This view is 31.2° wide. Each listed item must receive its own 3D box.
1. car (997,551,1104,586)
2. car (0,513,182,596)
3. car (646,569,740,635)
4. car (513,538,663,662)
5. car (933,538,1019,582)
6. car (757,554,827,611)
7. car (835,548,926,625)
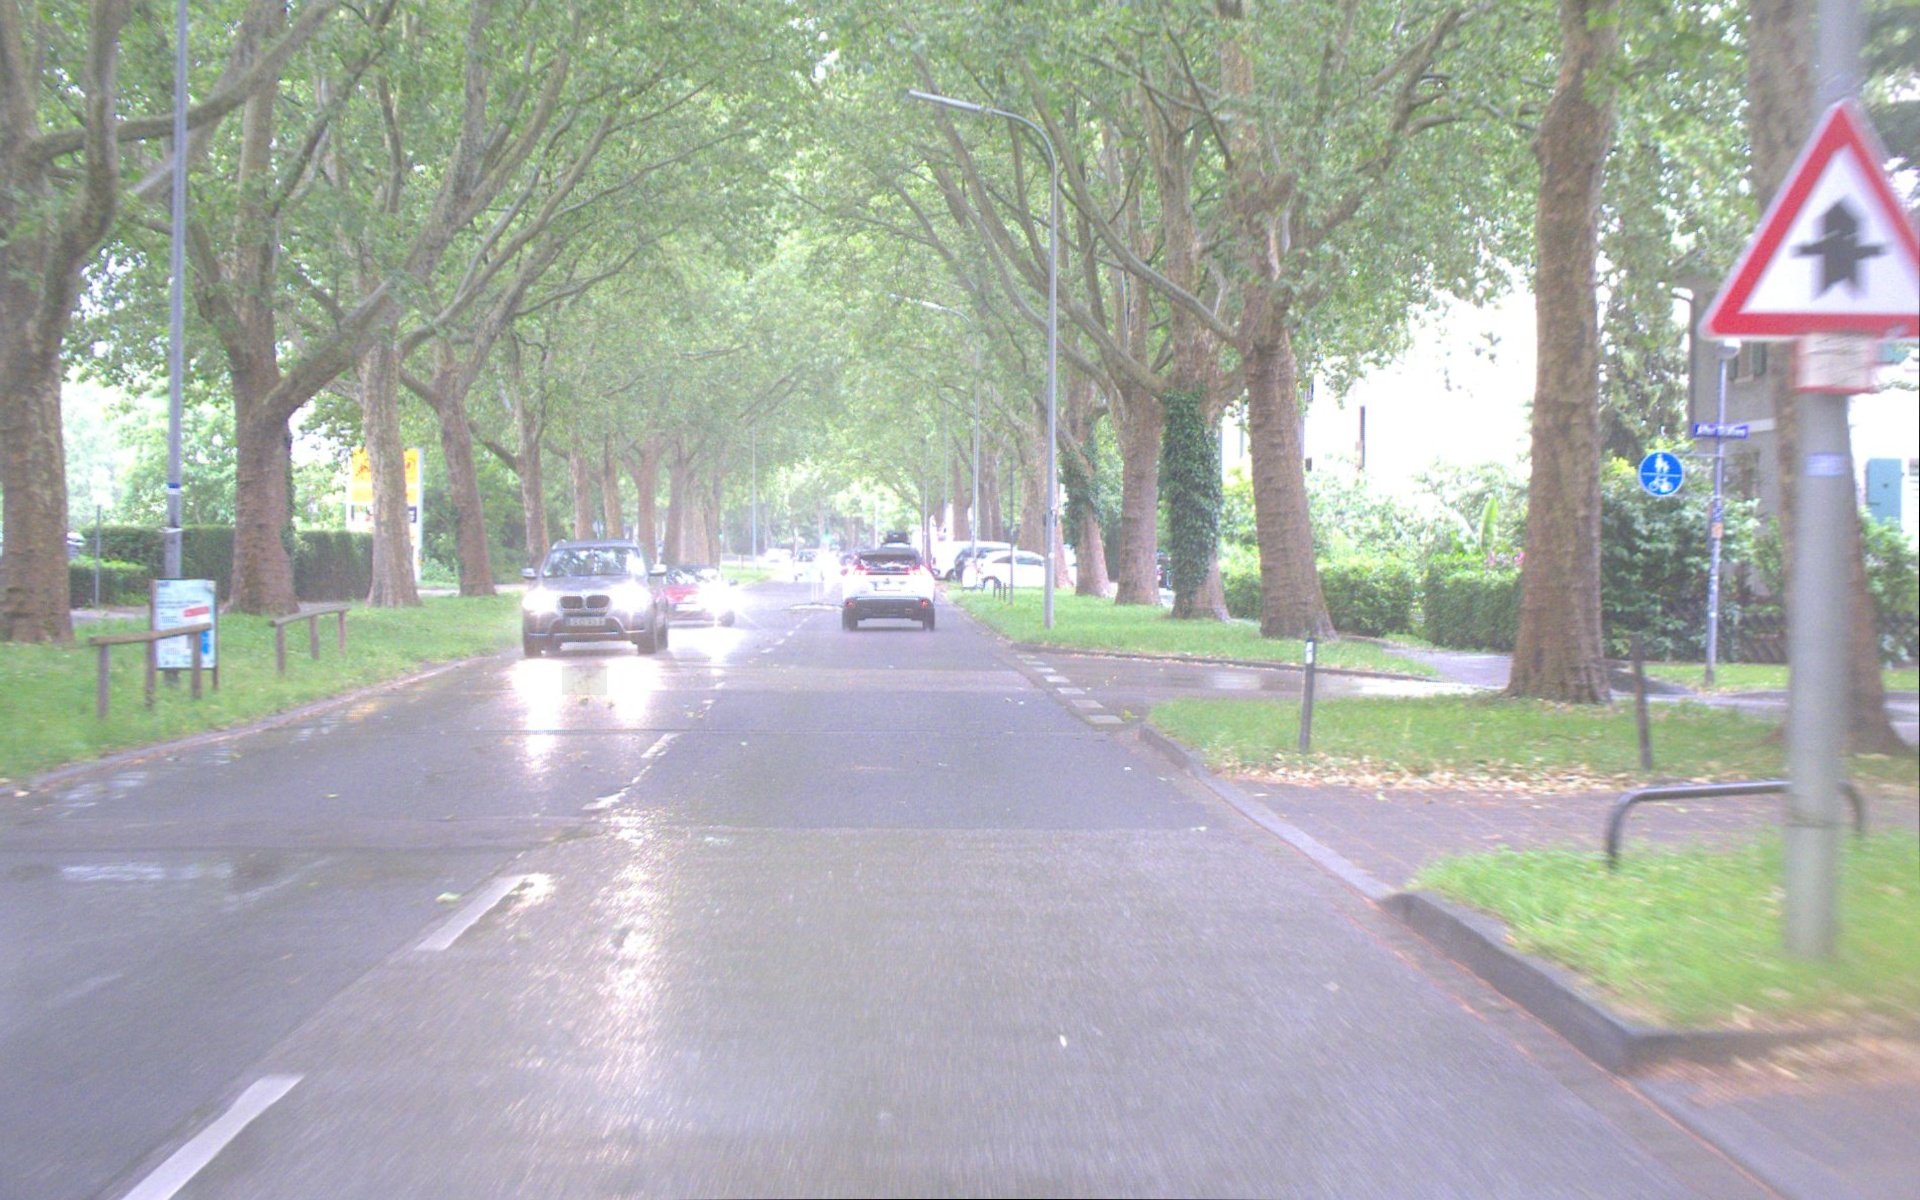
[{"bbox_3d":[3.121,-1.083,118.713,3.546,1.151,1.712,-1,1,-4],"label":"car"},{"bbox_3d":[-18.229,-0.950,70.722,3.987,1.617,2.000,1,1,-1],"label":"car"},{"bbox_3d":[-5.410,0.018,70.006,1.706,1.246,3.645,-1,1,-1],"label":"car"},{"bbox_3d":[-5.338,-0.041,49.730,1.809,1.678,4.449,0,1,-2],"label":"car"},{"bbox_3d":[0.680,-1.716,146.528,3.546,1.835,1.712,-1,1,-3],"label":"car"},{"bbox_3d":[-4.324,-0.473,88.983,1.706,1.406,3.645,-1,1,-1],"label":"car"},{"bbox_3d":[-1.536,-0.283,66.648,1.706,1.406,3.645,-1,1,-1],"label":"car"}]
